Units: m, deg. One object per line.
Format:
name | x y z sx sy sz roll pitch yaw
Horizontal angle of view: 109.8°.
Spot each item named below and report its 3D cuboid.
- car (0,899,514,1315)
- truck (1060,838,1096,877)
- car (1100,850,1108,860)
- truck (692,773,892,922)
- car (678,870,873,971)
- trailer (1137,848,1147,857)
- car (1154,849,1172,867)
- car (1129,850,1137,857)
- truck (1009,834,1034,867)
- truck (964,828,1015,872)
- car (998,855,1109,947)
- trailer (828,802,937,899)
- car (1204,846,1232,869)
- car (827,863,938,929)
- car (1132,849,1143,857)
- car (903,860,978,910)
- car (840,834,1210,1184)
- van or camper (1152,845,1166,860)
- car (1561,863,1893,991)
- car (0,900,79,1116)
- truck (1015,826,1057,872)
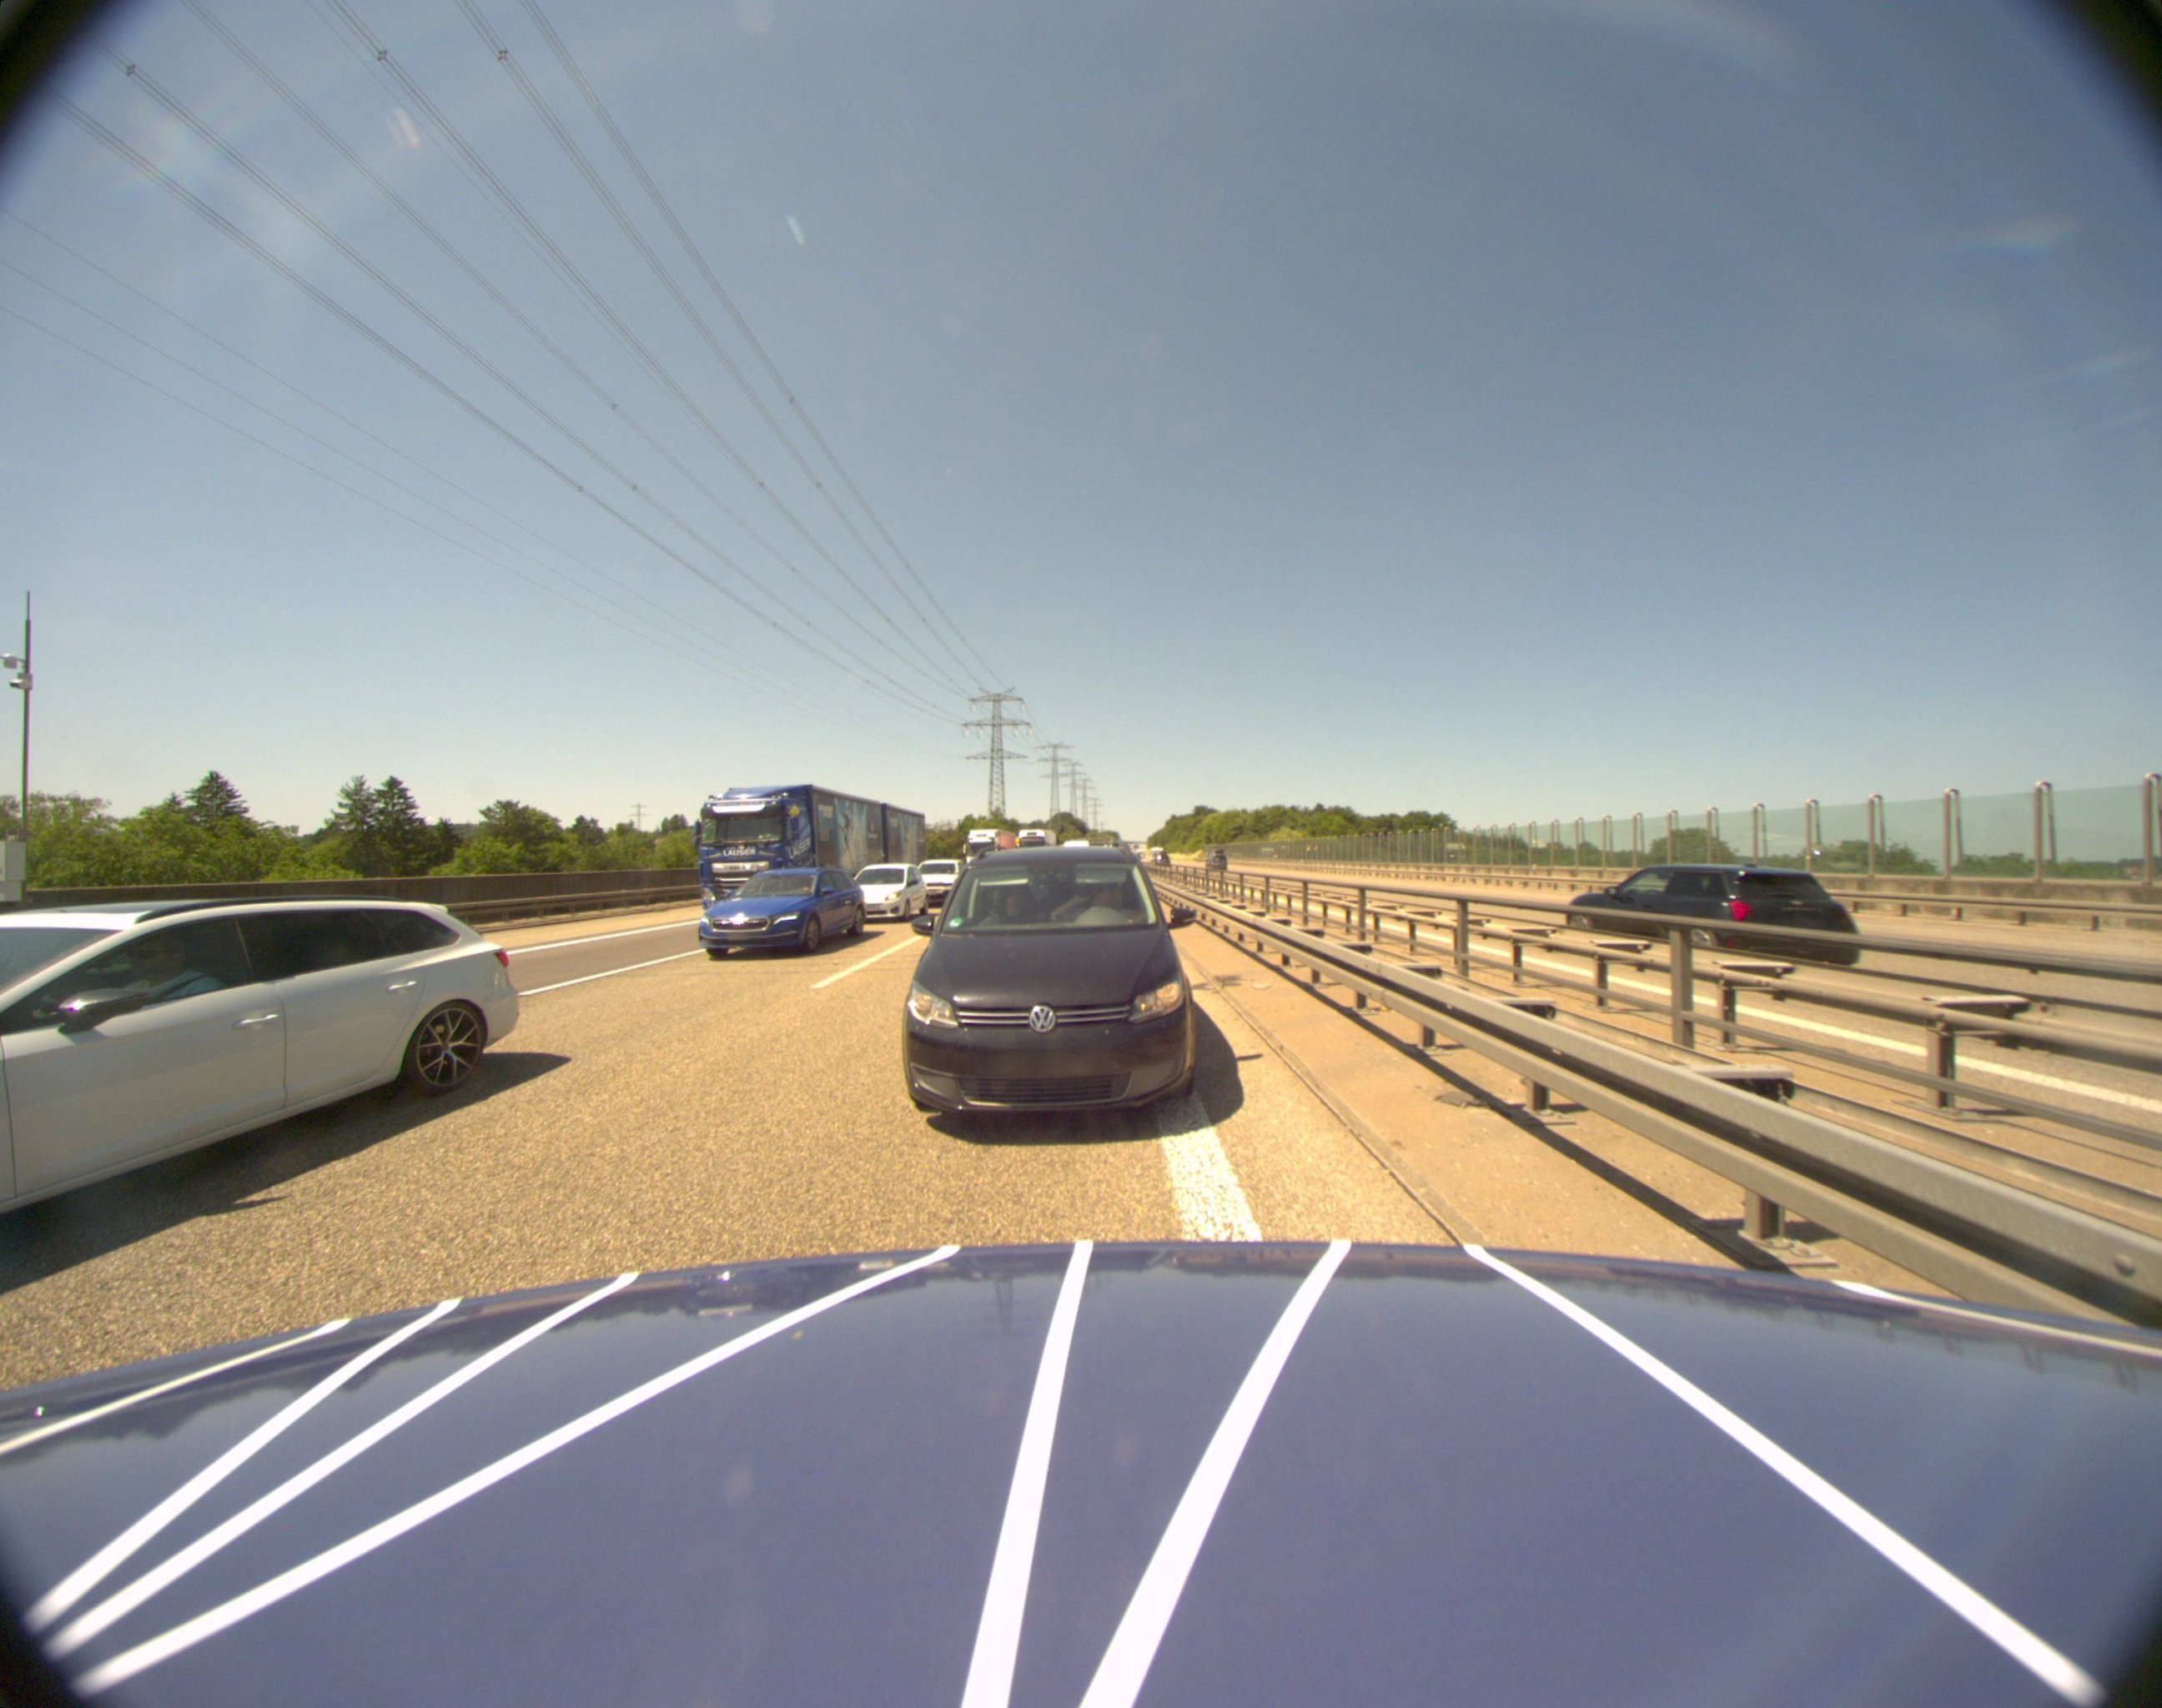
car | -5.264 1.129 3.756 1.843 1.481 4.071 -2 0 -1
truck | -0.135 0.232 52.742 2.284 2.479 5.861 -2 0 1
car | 4.825 0.145 159.916 1.805 2.002 4.000 -1 0 1
truck | -9.212 -0.189 26.012 2.529 4.043 10.447 -1 0 1
car | -5.354 1.096 13.989 1.739 1.437 4.211 -1 0 2
trailer | 18.609 -0.520 232.720 2.499 2.534 6.774 1 0 1
car | 10.349 0.481 96.484 1.868 2.118 4.268 1 0 1
car | 12.970 -0.137 190.146 1.872 1.523 4.424 2 0 1
truck | -7.736 -0.514 99.451 2.346 4.058 8.278 -2 1 1
truck | -8.083 -0.375 68.317 2.985 3.538 10.967 -2 0 1
car | -0.434 0.801 15.010 1.845 1.495 4.377 -1 0 1
trailer | -8.980 -0.161 35.504 2.572 3.922 8.479 -1 0 1
car | 13.784 0.345 76.770 1.998 2.203 4.268 1 0 0
car | -5.193 1.040 20.424 1.762 1.495 4.095 -1 0 2
car | 11.631 -0.195 156.915 1.872 1.690 4.430 0 0 0
car | -4.711 0.988 25.988 1.763 1.495 4.094 -1 0 0
car | -0.257 0.743 5.699 1.740 1.652 3.999 -2 1 0
van or camper | 16.354 -0.356 159.477 2.428 3.006 7.026 1 0 1
car | 8.871 0.888 10.912 1.623 1.455 3.702 1 0 1
car | -8.644 1.156 3.792 1.740 1.518 4.106 -2 0 1
truck | -4.017 -0.466 70.034 2.980 3.832 10.561 -2 1 1
